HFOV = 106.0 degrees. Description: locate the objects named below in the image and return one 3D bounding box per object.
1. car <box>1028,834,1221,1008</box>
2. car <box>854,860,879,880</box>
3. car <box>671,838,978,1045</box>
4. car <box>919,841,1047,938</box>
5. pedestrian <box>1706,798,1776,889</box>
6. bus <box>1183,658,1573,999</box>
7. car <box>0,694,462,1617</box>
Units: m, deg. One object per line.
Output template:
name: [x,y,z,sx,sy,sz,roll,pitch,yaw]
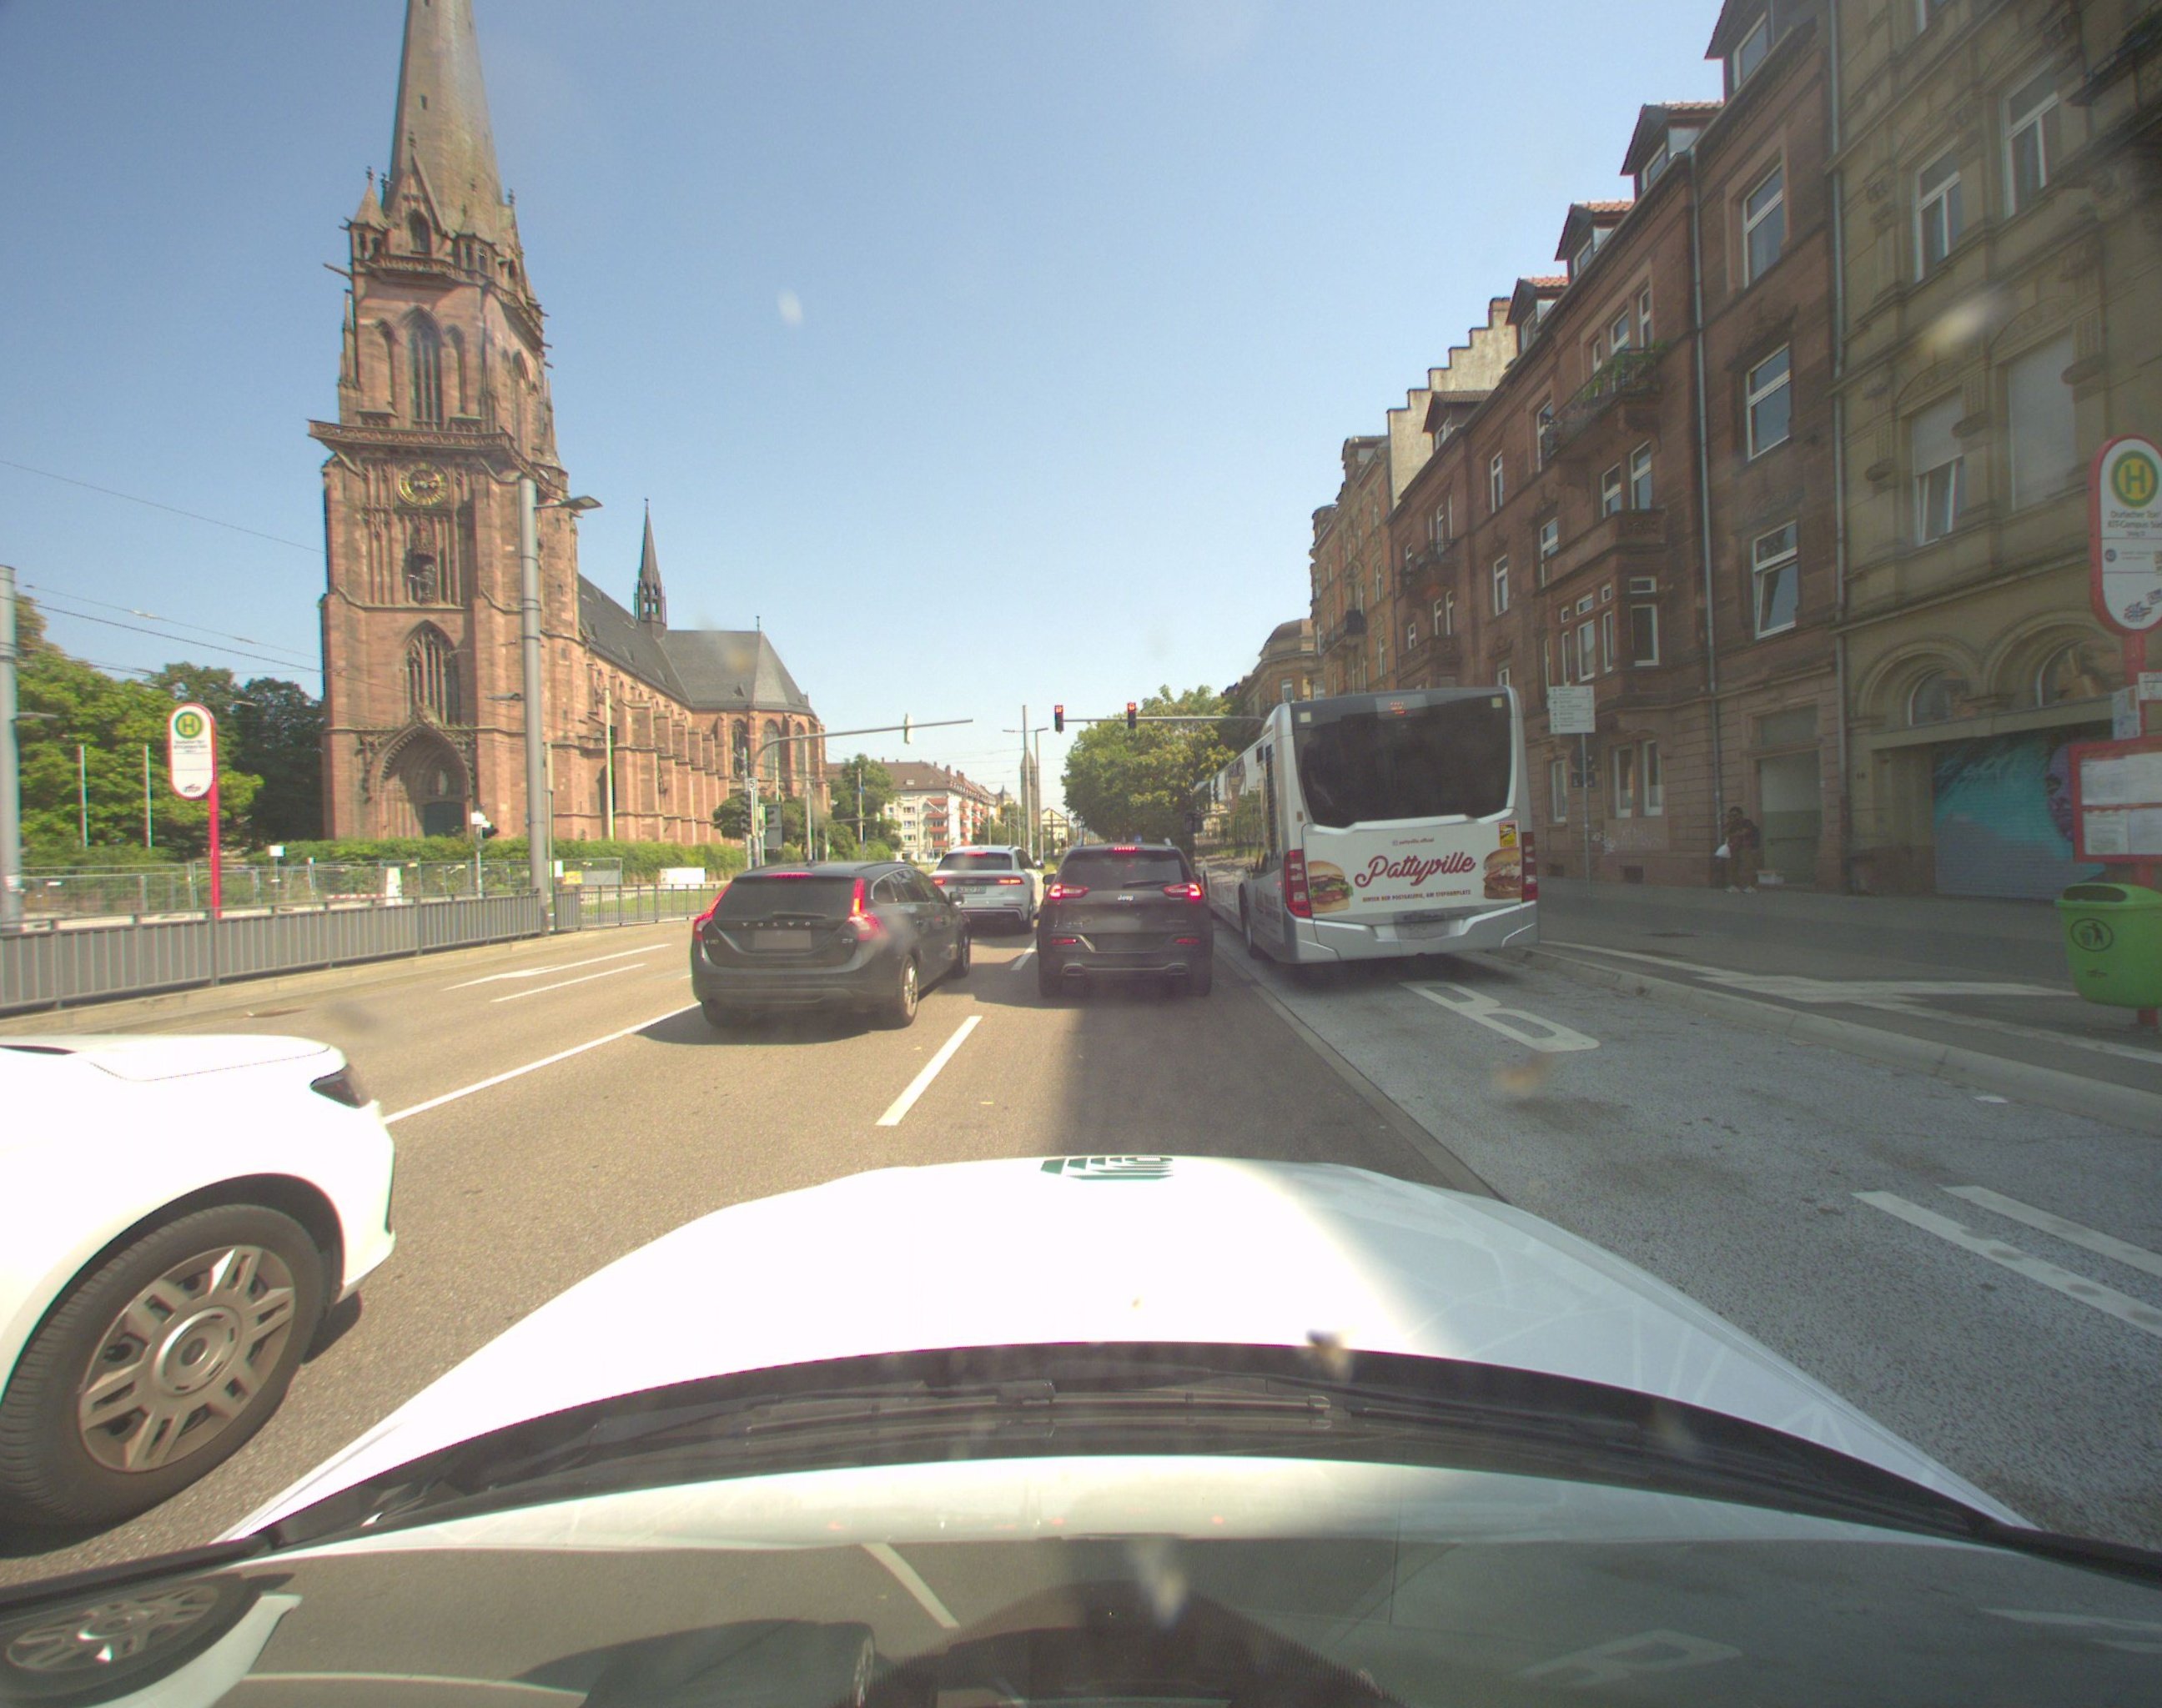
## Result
car: [0.518,0.630,9.969,1.825,1.651,4.311,-1,0,3]
car: [-17.245,1.228,65.373,1.750,1.435,4.547,-4,0,-16]
car: [-2.308,0.687,8.610,1.741,1.614,4.310,-1,0,2]
car: [-1.808,0.606,16.415,1.895,1.651,4.310,-1,0,2]
pedestrian: [13.253,-0.212,16.362,0.872,1.778,0.737,-2,0,-26]
bus: [3.617,-0.250,13.884,2.732,3.106,11.966,-5,0,3]
car: [-3.044,0.611,0.647,1.741,1.820,4.241,-1,0,2]
